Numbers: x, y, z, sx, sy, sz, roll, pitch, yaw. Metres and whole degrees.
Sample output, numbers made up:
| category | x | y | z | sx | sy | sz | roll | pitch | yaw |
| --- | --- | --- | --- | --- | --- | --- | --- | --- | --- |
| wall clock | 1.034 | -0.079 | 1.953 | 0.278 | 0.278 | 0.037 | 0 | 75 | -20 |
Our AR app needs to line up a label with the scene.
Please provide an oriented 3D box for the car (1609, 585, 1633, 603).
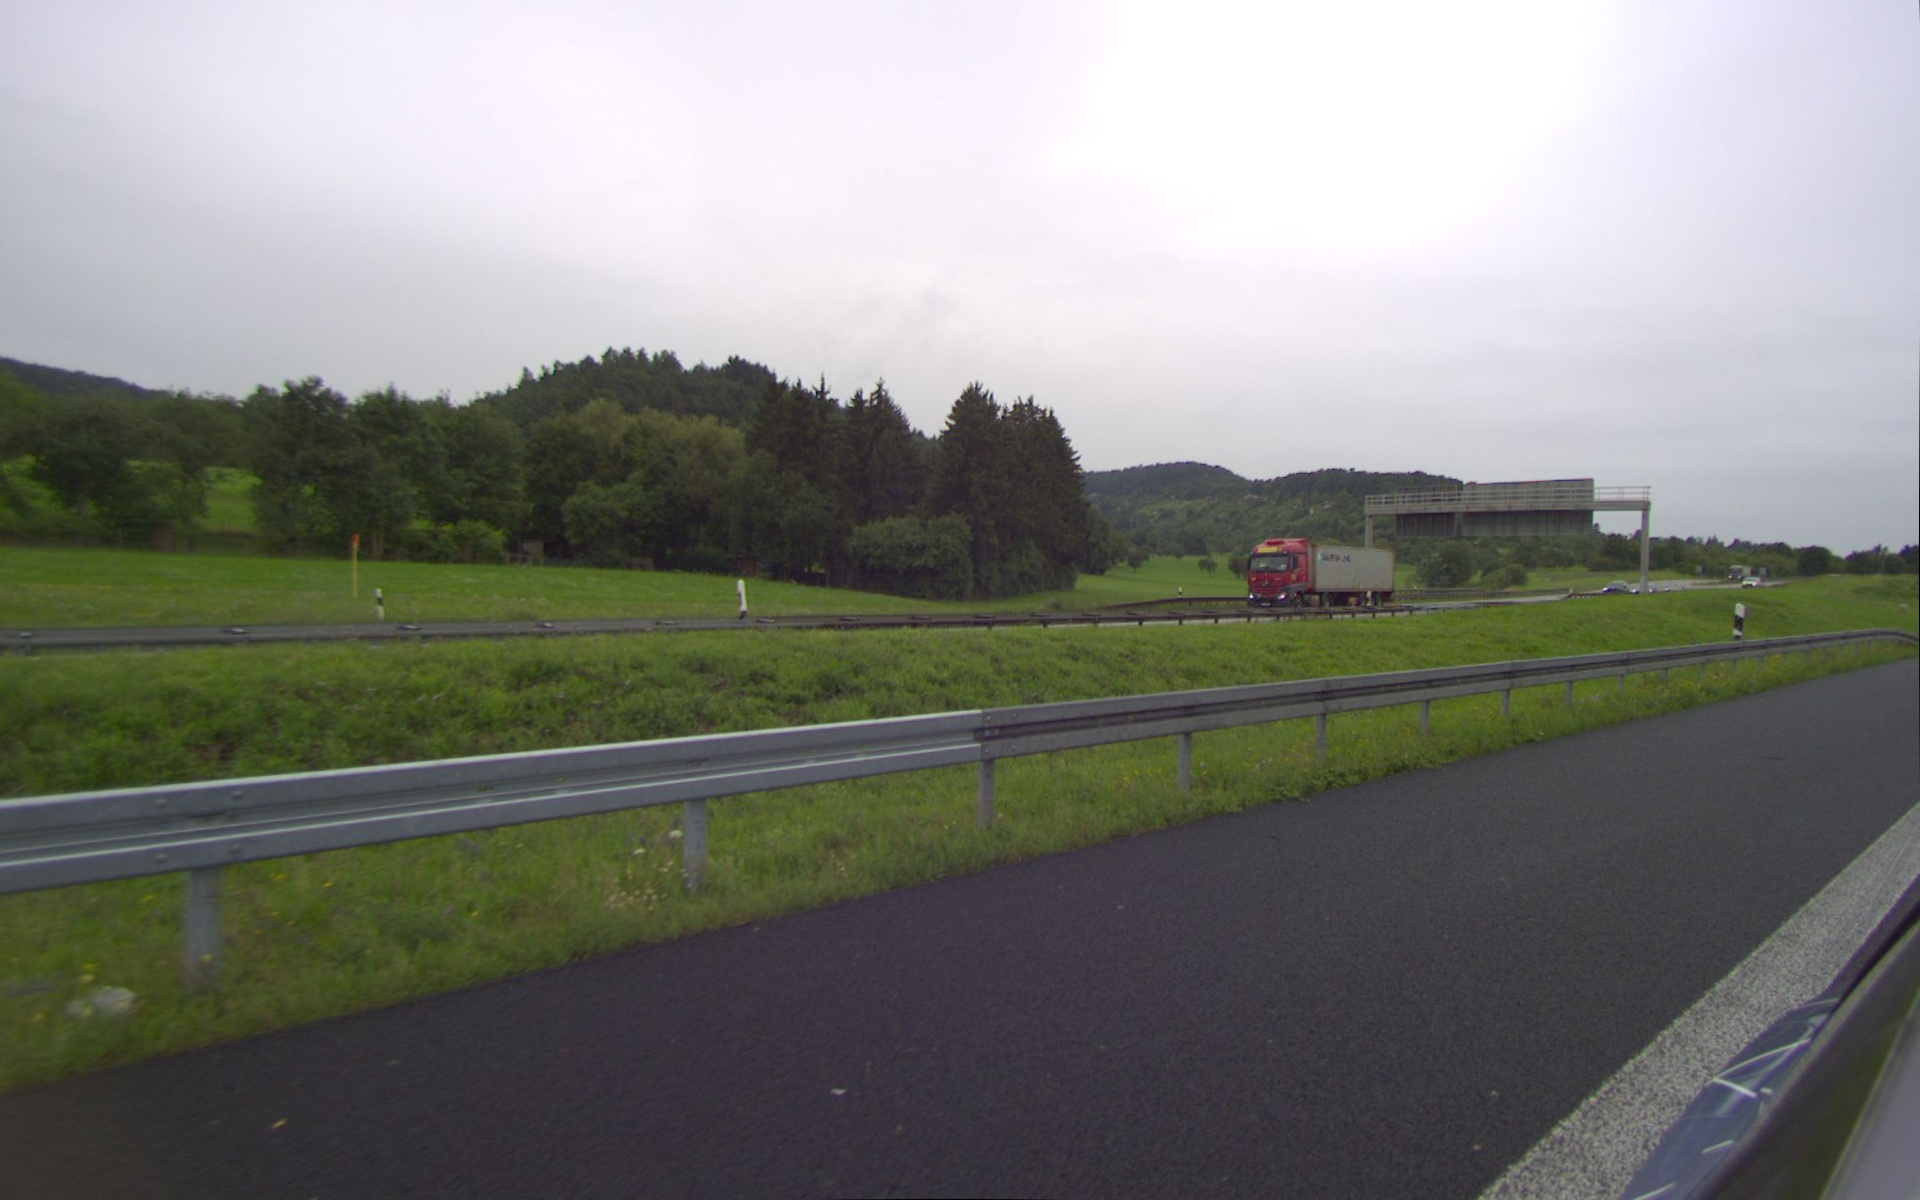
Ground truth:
| category | x | y | z | sx | sy | sz | roll | pitch | yaw |
| --- | --- | --- | --- | --- | --- | --- | --- | --- | --- |
| car | 74.696 | -0.705 | 114.326 | 1.647 | 2.039 | 3.940 | 2 | 1 | 42 |

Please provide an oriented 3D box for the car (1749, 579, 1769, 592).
| category | x | y | z | sx | sy | sz | roll | pitch | yaw |
| --- | --- | --- | --- | --- | --- | --- | --- | --- | --- |
| car | 130.270 | -2.355 | 165.035 | 3.934 | 2.039 | 1.995 | 0 | 1 | -44 |

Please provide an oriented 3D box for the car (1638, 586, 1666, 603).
| category | x | y | z | sx | sy | sz | roll | pitch | yaw |
| --- | --- | --- | --- | --- | --- | --- | --- | --- | --- |
| car | 72.588 | -0.580 | 106.155 | 1.991 | 1.742 | 4.256 | 2 | 1 | 40 |

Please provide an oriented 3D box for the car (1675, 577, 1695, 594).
| category | x | y | z | sx | sy | sz | roll | pitch | yaw |
| --- | --- | --- | --- | --- | --- | --- | --- | --- | --- |
| car | 86.970 | -1.745 | 121.332 | 1.646 | 2.039 | 3.942 | 2 | 1 | 40 |

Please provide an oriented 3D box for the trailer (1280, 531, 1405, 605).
| category | x | y | z | sx | sy | sz | roll | pitch | yaw |
| --- | --- | --- | --- | --- | --- | --- | --- | --- | --- |
| trailer | 23.177 | -1.769 | 60.729 | 2.490 | 4.034 | 12.210 | -1 | 0 | 43 |

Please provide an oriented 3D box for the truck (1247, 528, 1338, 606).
| category | x | y | z | sx | sy | sz | roll | pitch | yaw |
| --- | --- | --- | --- | --- | --- | --- | --- | --- | --- |
| truck | 18.307 | -1.730 | 55.587 | 2.507 | 4.037 | 5.835 | -1 | 0 | 43 |
